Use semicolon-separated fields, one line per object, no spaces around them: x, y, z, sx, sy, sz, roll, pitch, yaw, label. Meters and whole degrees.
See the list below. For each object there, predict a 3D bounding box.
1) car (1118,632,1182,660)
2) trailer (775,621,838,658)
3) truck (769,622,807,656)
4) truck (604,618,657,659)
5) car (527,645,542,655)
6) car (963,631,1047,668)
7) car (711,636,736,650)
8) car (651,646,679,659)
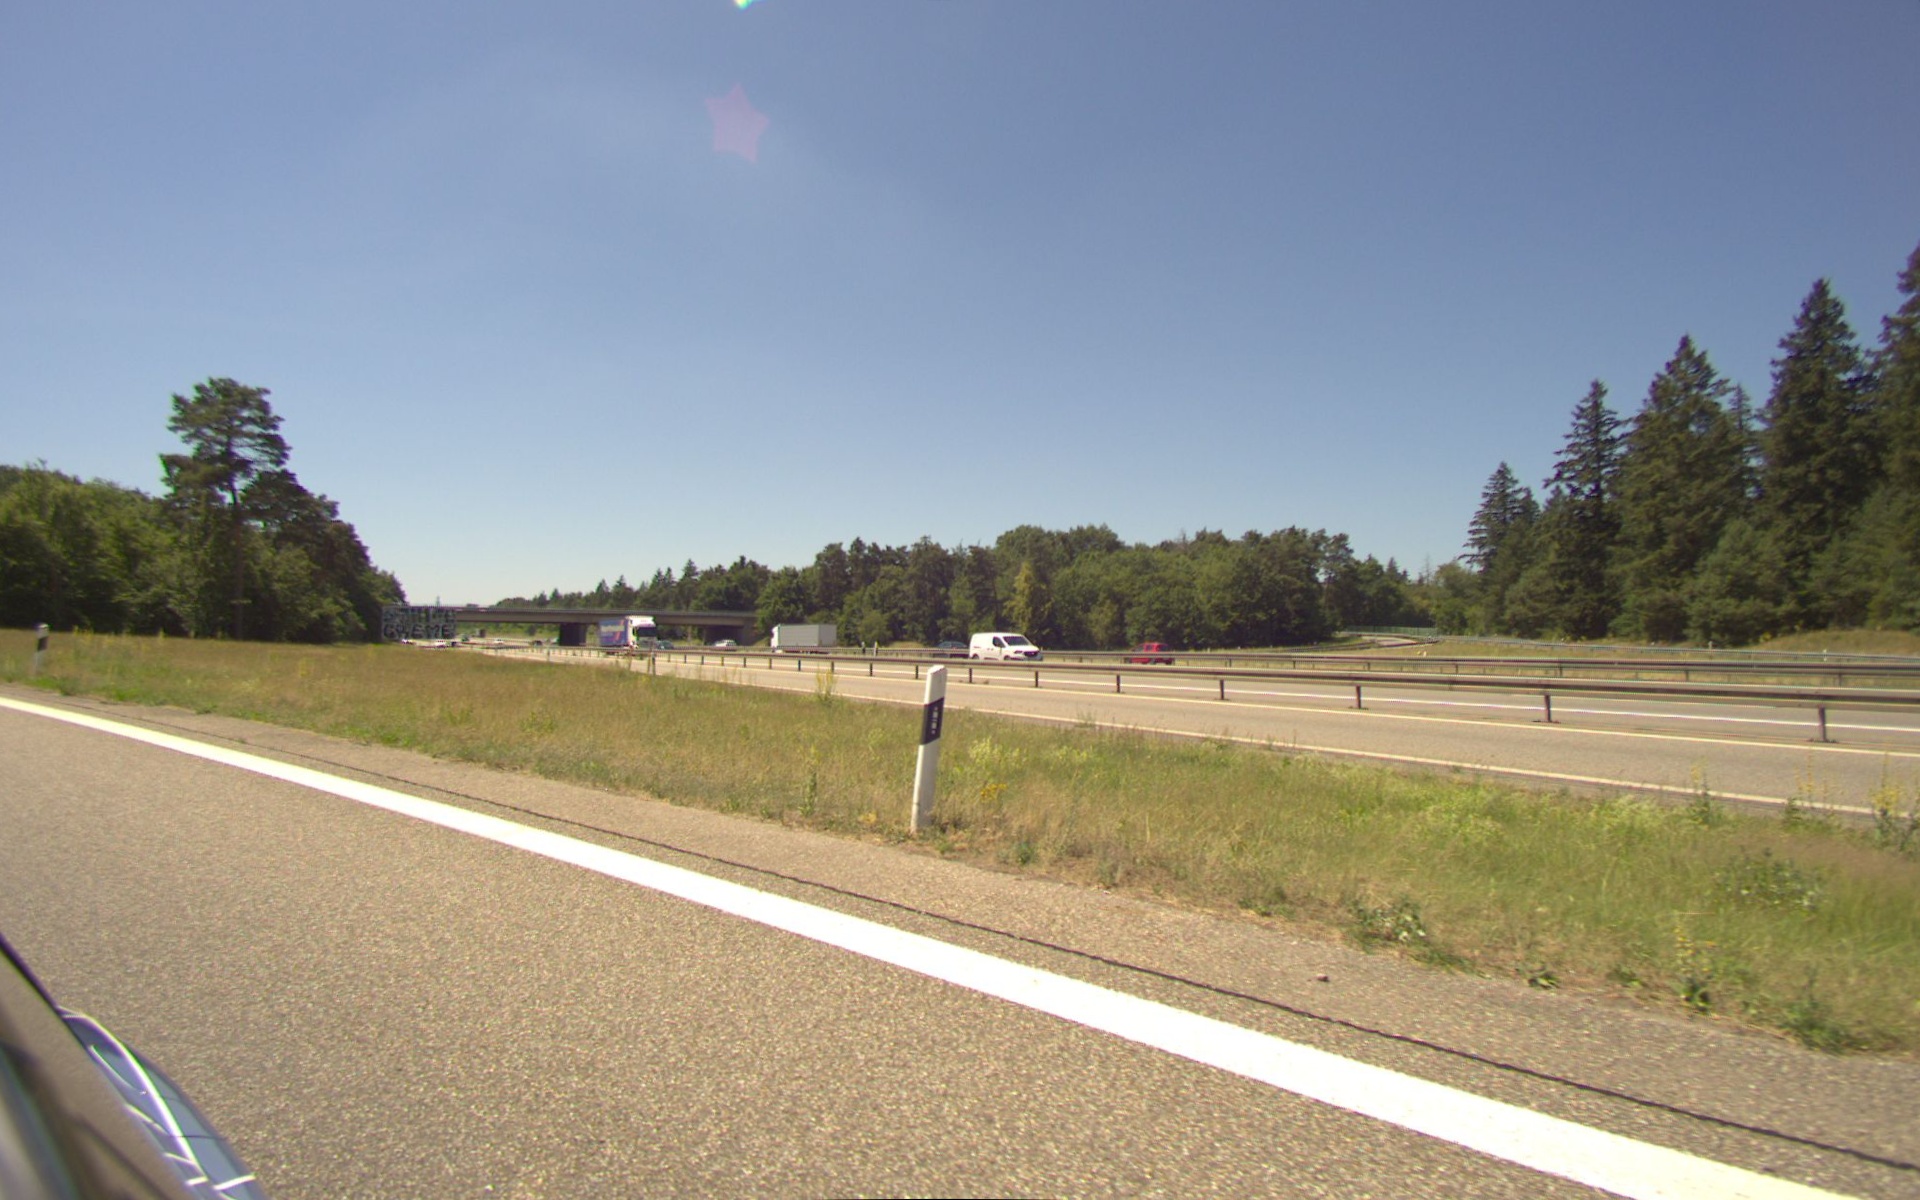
12.567;3.059;67.210;1.934;1.741;4.011;4;-3;-32;car
-20.031;5.074;131.092;2.884;4.421;14.340;3;-3;-30;trailer
-23.202;5.227;136.582;2.898;4.426;6.290;3;-3;-30;truck
-34.308;4.015;105.077;2.666;4.089;11.079;1;-3;-32;truck
-78.619;9.256;186.854;1.966;1.730;4.012;1;-2;-30;car
2.234;2.480;51.572;1.747;1.767;5.034;1;-2;-31;car
-31.345;5.721;133.997;1.966;1.863;4.371;2;-4;-30;car
-34.179;6.061;117.346;1.966;1.487;4.254;1;-2;-33;car
